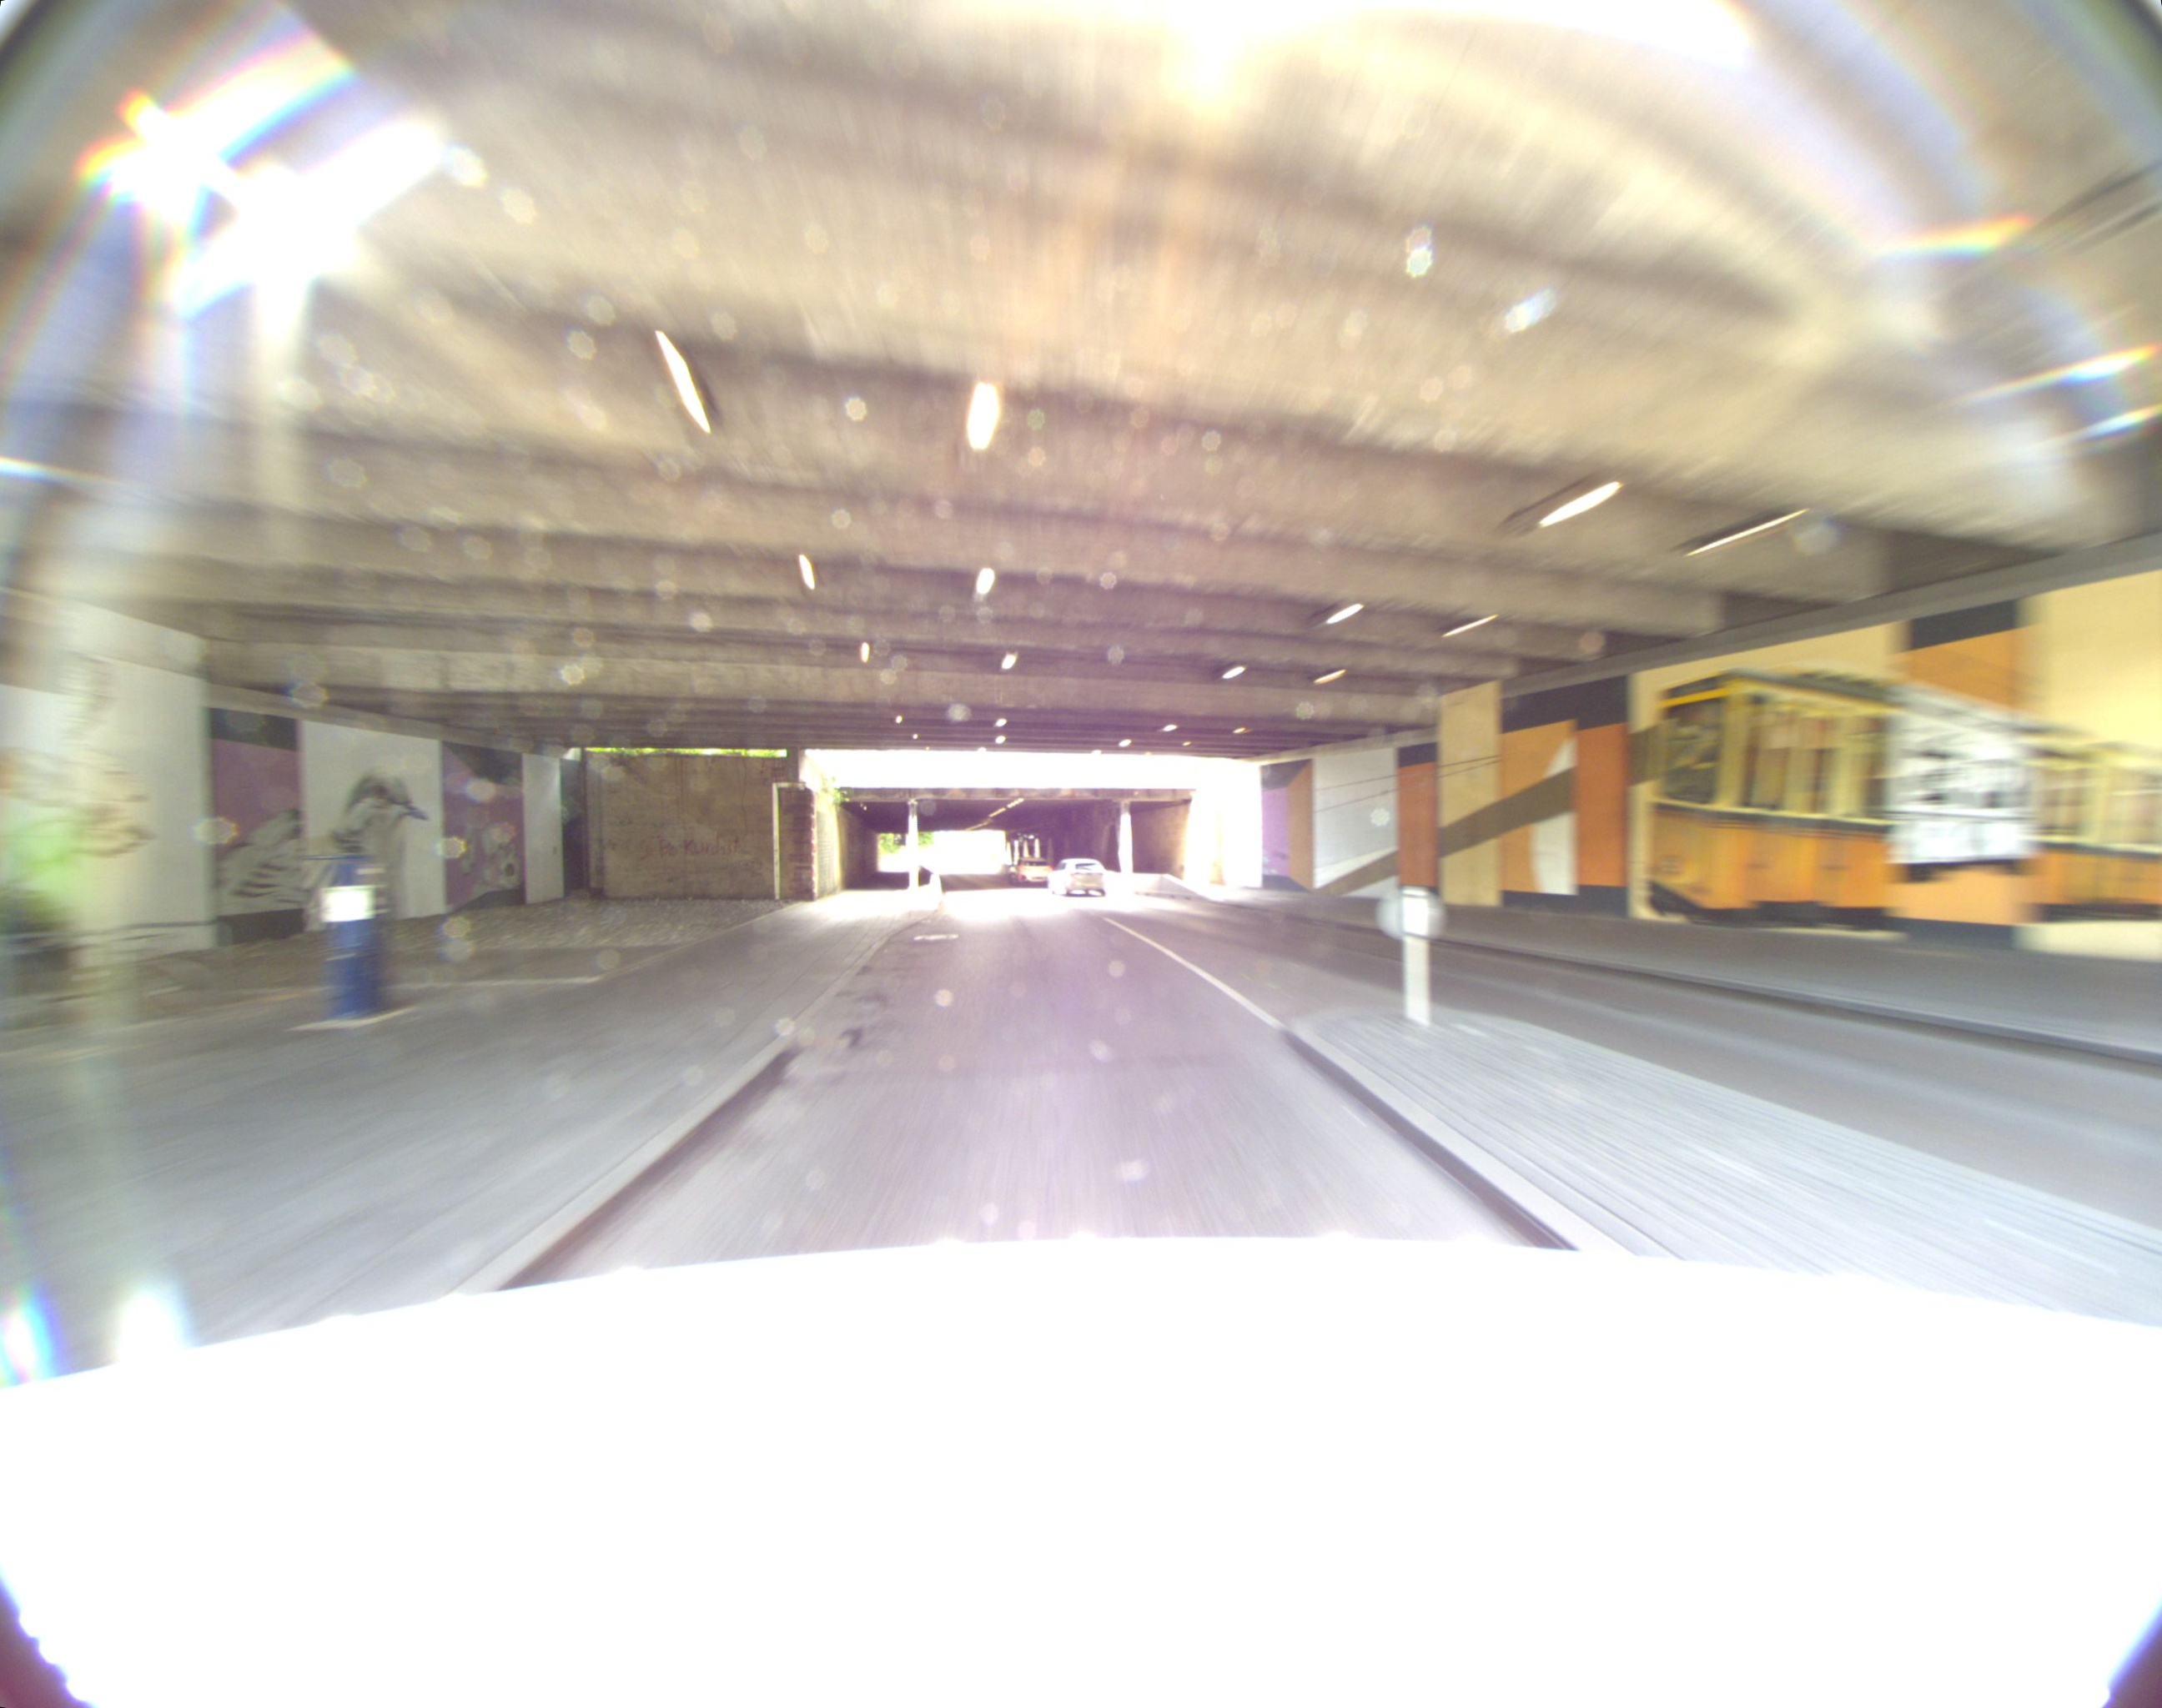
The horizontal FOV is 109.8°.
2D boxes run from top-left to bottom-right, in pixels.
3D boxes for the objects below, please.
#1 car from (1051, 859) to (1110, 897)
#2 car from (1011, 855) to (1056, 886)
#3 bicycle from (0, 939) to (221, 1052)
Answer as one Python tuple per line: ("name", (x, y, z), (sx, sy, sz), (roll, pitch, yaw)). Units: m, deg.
("car", (-0.090, 0.921, 30.956), (1.677, 1.439, 3.848), (0, 0, -12))
("car", (-2.668, 0.865, 41.814), (1.832, 1.644, 4.209), (0, 0, -13))
("bicycle", (-9.354, 1.290, 6.998), (1.952, 0.899, 0.506), (0, 1, -13))
